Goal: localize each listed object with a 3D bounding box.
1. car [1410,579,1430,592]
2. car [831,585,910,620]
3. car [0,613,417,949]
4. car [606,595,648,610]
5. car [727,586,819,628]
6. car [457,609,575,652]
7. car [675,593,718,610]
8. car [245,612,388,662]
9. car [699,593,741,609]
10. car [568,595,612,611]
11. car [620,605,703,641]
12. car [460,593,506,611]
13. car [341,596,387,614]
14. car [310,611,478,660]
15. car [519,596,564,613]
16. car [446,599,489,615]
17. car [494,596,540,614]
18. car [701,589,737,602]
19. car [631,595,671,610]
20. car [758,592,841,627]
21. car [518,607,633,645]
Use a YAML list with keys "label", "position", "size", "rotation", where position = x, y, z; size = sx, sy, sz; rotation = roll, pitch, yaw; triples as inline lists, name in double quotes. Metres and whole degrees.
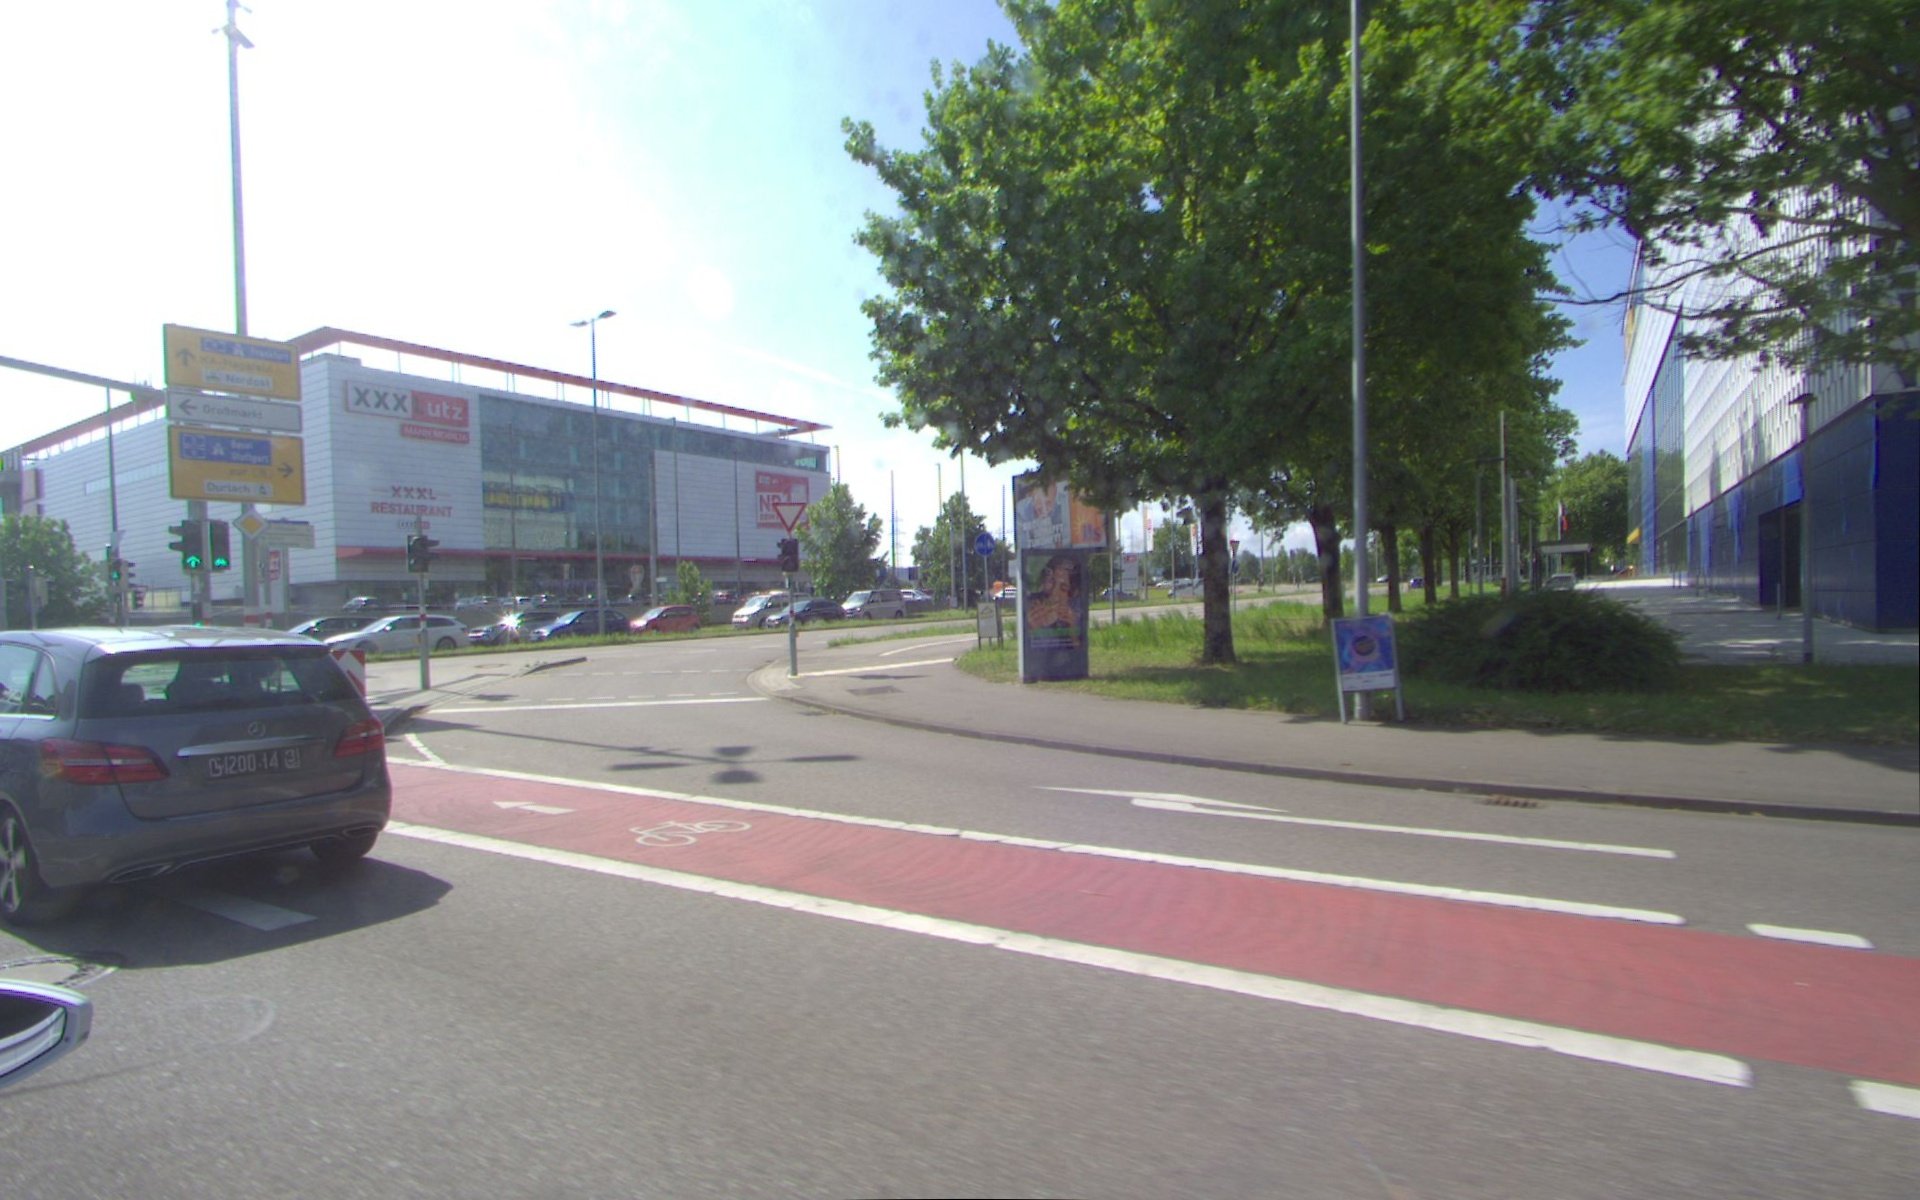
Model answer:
- label: "car"
  position: [57.901, -1.871, 126.069]
  size: [1.619, 1.555, 3.892]
  rotation: [-1, 0, 34]
- label: "car"
  position: [-5.265, 0.132, 59.281]
  size: [1.891, 1.961, 4.756]
  rotation: [-3, -1, 37]
- label: "car"
  position: [-5.543, 0.882, 6.497]
  size: [4.078, 1.559, 1.770]
  rotation: [-1, -1, 32]
- label: "car"
  position: [-32.886, 0.262, 98.784]
  size: [4.144, 1.438, 1.799]
  rotation: [-2, 0, 35]
- label: "car"
  position: [-9.804, 0.358, 52.802]
  size: [1.938, 2.001, 4.658]
  rotation: [-3, -1, 36]
- label: "car"
  position: [-18.258, 1.223, 41.318]
  size: [1.883, 1.528, 4.015]
  rotation: [-3, 0, 35]
- label: "car"
  position: [-24.571, 0.153, 93.403]
  size: [4.055, 1.438, 1.679]
  rotation: [-2, 0, 35]
- label: "car"
  position: [-22.730, 1.287, 35.498]
  size: [1.785, 1.579, 3.871]
  rotation: [-2, 0, 36]
- label: "car"
  position: [-22.819, 0.086, 95.255]
  size: [3.956, 1.438, 1.734]
  rotation: [-2, 0, 35]
- label: "car"
  position: [-35.087, 0.279, 94.954]
  size: [4.144, 1.438, 1.894]
  rotation: [-2, 0, 35]
- label: "car"
  position: [-13.961, 1.054, 46.917]
  size: [1.578, 1.596, 3.457]
  rotation: [-1, 0, 36]
- label: "car"
  position: [-41.198, 0.158, 86.472]
  size: [3.951, 1.438, 1.795]
  rotation: [-2, 0, 32]
- label: "car"
  position: [-49.502, 0.405, 83.168]
  size: [4.144, 1.438, 1.765]
  rotation: [-2, 0, 35]
- label: "car"
  position: [-19.580, 1.203, 34.842]
  size: [1.934, 1.444, 4.701]
  rotation: [-3, -1, 35]
- label: "car"
  position: [-38.078, 0.380, 91.045]
  size: [4.144, 1.438, 1.866]
  rotation: [-2, 0, 35]
- label: "car"
  position: [-45.543, 0.662, 92.524]
  size: [3.858, 1.438, 1.682]
  rotation: [-2, 0, 30]
- label: "car"
  position: [-39.105, 0.459, 88.373]
  size: [4.144, 1.438, 1.826]
  rotation: [-2, 0, 35]
- label: "car"
  position: [-27.983, -0.505, 116.170]
  size: [4.144, 1.438, 1.679]
  rotation: [-2, 0, 35]
- label: "car"
  position: [-31.057, 0.252, 100.608]
  size: [4.144, 1.438, 1.730]
  rotation: [-2, 0, 35]
- label: "car"
  position: [-7.985, 0.458, 50.166]
  size: [1.663, 1.641, 4.101]
  rotation: [-1, 0, 37]
- label: "car"
  position: [-15.391, 1.036, 40.215]
  size: [1.701, 1.359, 4.032]
  rotation: [-2, -1, 35]
